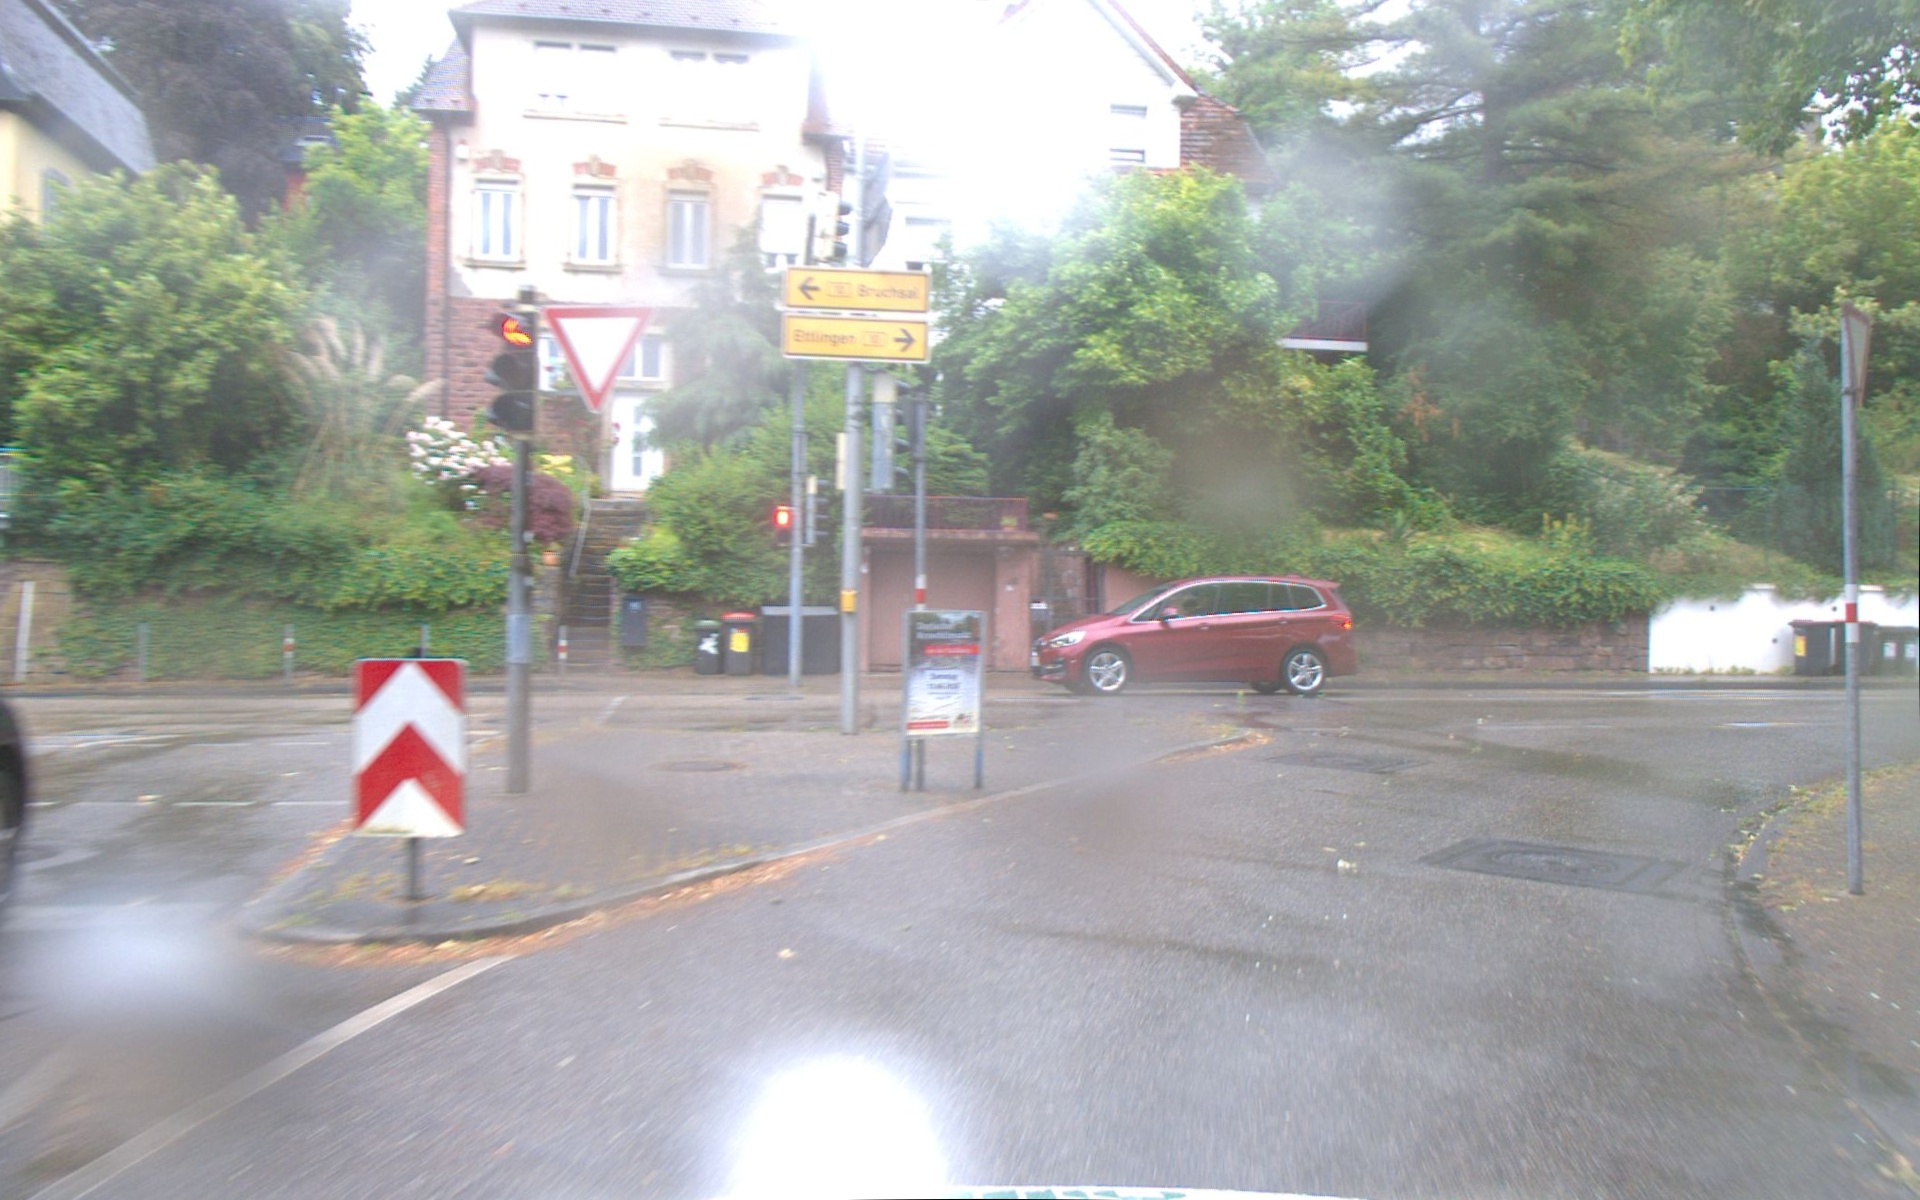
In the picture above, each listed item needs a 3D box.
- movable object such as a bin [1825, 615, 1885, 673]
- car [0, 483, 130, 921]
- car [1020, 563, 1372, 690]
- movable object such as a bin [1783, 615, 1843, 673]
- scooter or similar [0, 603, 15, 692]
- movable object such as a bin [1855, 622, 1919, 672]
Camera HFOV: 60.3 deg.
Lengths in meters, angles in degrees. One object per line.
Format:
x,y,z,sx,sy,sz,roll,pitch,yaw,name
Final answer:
17.047,0.832,31.519,0.777,1.079,0.635,0,-1,-9,movable object such as a bin
-4.498,0.396,5.552,1.728,1.741,4.590,2,1,-10,car
3.188,0.352,22.753,4.483,1.629,1.771,-1,-1,-8,car
16.253,0.835,31.528,0.737,1.079,0.687,0,-1,-9,movable object such as a bin
-15.052,0.733,25.171,0.453,1.358,1.088,-2,-2,38,scooter or similar
17.986,0.903,31.921,0.933,0.932,0.850,0,-1,-10,movable object such as a bin
